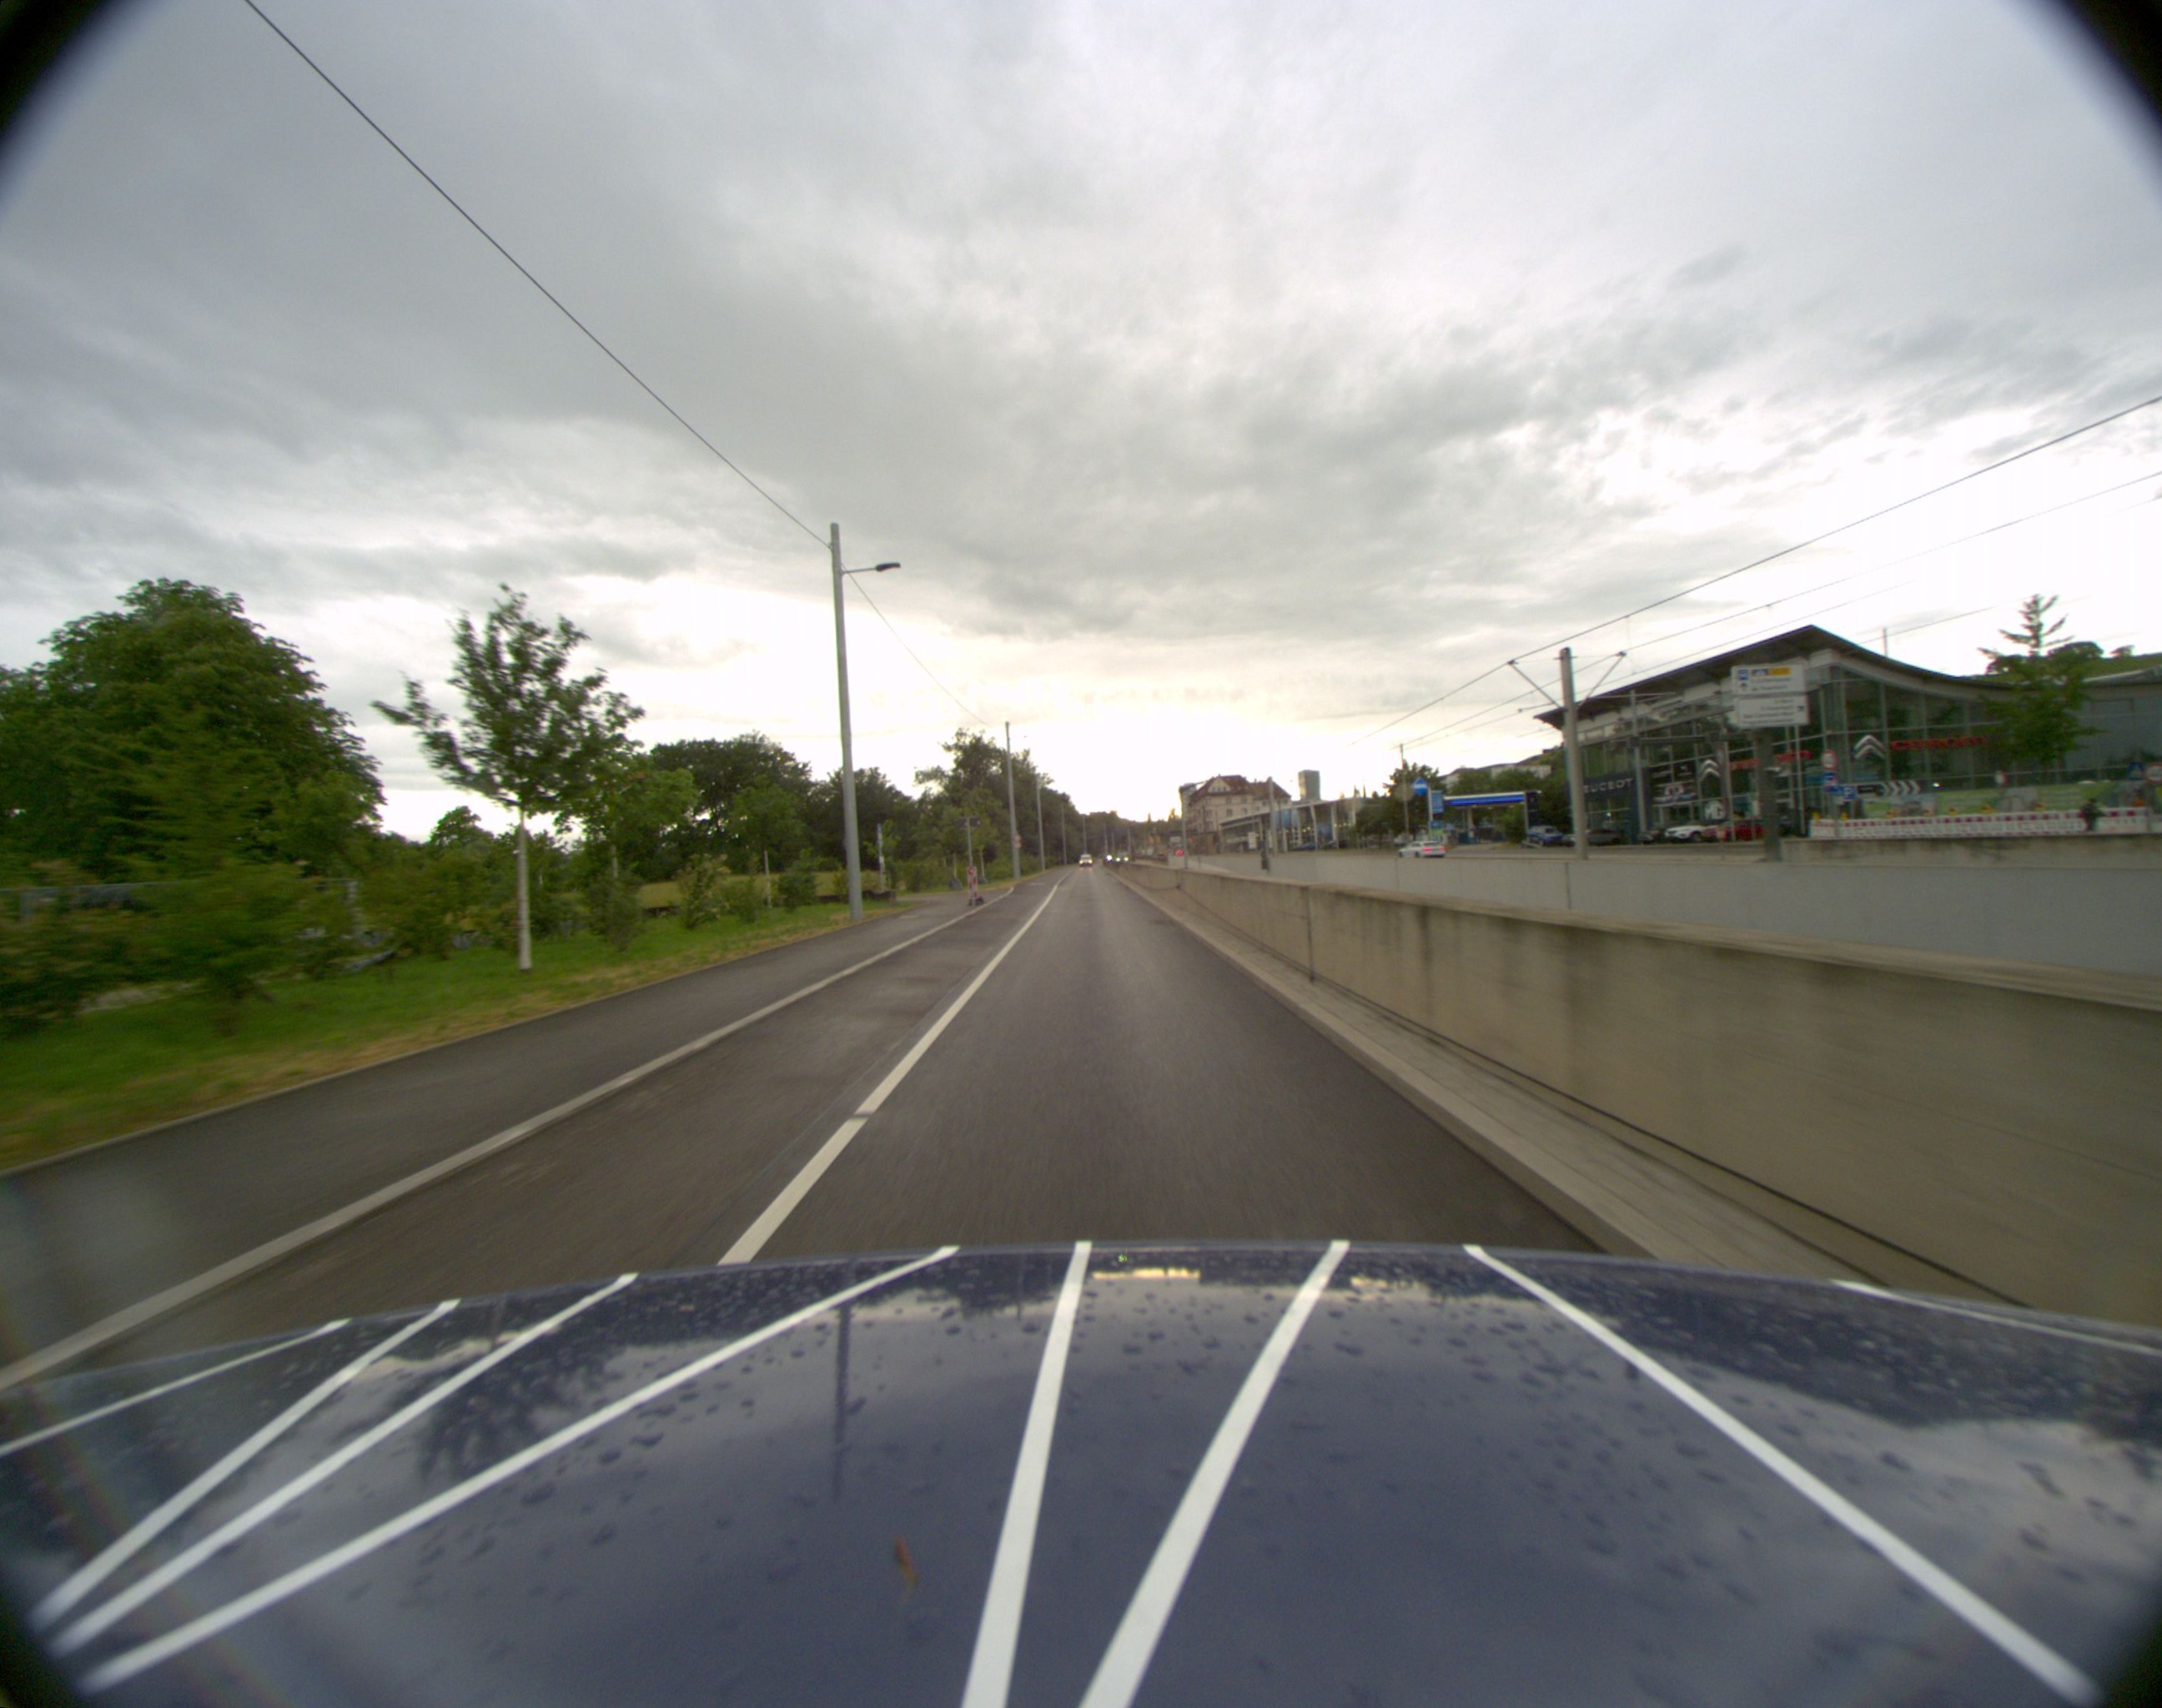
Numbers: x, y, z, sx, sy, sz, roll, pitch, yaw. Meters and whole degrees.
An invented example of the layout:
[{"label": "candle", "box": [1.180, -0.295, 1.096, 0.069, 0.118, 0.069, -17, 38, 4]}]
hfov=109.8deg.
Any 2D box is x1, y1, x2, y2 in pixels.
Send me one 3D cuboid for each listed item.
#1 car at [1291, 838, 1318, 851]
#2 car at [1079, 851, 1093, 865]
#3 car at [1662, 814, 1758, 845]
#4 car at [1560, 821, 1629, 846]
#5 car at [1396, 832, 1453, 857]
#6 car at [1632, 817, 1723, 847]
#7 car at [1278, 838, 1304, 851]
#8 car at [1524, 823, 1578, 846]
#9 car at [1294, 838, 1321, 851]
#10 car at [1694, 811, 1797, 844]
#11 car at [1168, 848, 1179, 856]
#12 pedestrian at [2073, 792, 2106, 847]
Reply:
[{"label": "car", "box": [38.902, -1.713, 132.154, 3.997, 2.002, 2.000, -3, 0, 1]}, {"label": "car", "box": [0.756, 0.564, 114.594, 1.998, 2.002, 4.000, -2, 0, 0]}, {"label": "car", "box": [40.934, -1.582, 49.517, 4.577, 1.750, 2.000, -3, 0, 0]}, {"label": "car", "box": [40.396, -1.589, 59.854, 3.997, 1.761, 2.000, -3, 0, 0]}, {"label": "car", "box": [26.430, -0.697, 58.694, 2.119, 1.706, 4.579, -3, 0, -2]}, {"label": "car", "box": [40.808, -1.486, 52.050, 4.577, 1.750, 2.000, -3, 0, 0]}, {"label": "car", "box": [37.307, -1.660, 135.038, 3.997, 2.002, 2.000, -3, 0, 1]}, {"label": "car", "box": [39.758, -1.652, 64.385, 1.999, 1.761, 3.999, -3, 0, -2]}, {"label": "car", "box": [38.642, -1.628, 129.723, 3.997, 2.002, 2.000, -3, 0, 1]}, {"label": "car", "box": [41.148, -1.607, 47.144, 4.577, 1.750, 2.000, -3, 0, 0]}, {"label": "car", "box": [24.339, -0.592, 200.375, 2.271, 2.002, 4.000, -3, 0, 0]}, {"label": "pedestrian", "box": [37.319, -1.269, 28.110, 0.581, 2.002, 0.728, -3, 1, -37]}]
